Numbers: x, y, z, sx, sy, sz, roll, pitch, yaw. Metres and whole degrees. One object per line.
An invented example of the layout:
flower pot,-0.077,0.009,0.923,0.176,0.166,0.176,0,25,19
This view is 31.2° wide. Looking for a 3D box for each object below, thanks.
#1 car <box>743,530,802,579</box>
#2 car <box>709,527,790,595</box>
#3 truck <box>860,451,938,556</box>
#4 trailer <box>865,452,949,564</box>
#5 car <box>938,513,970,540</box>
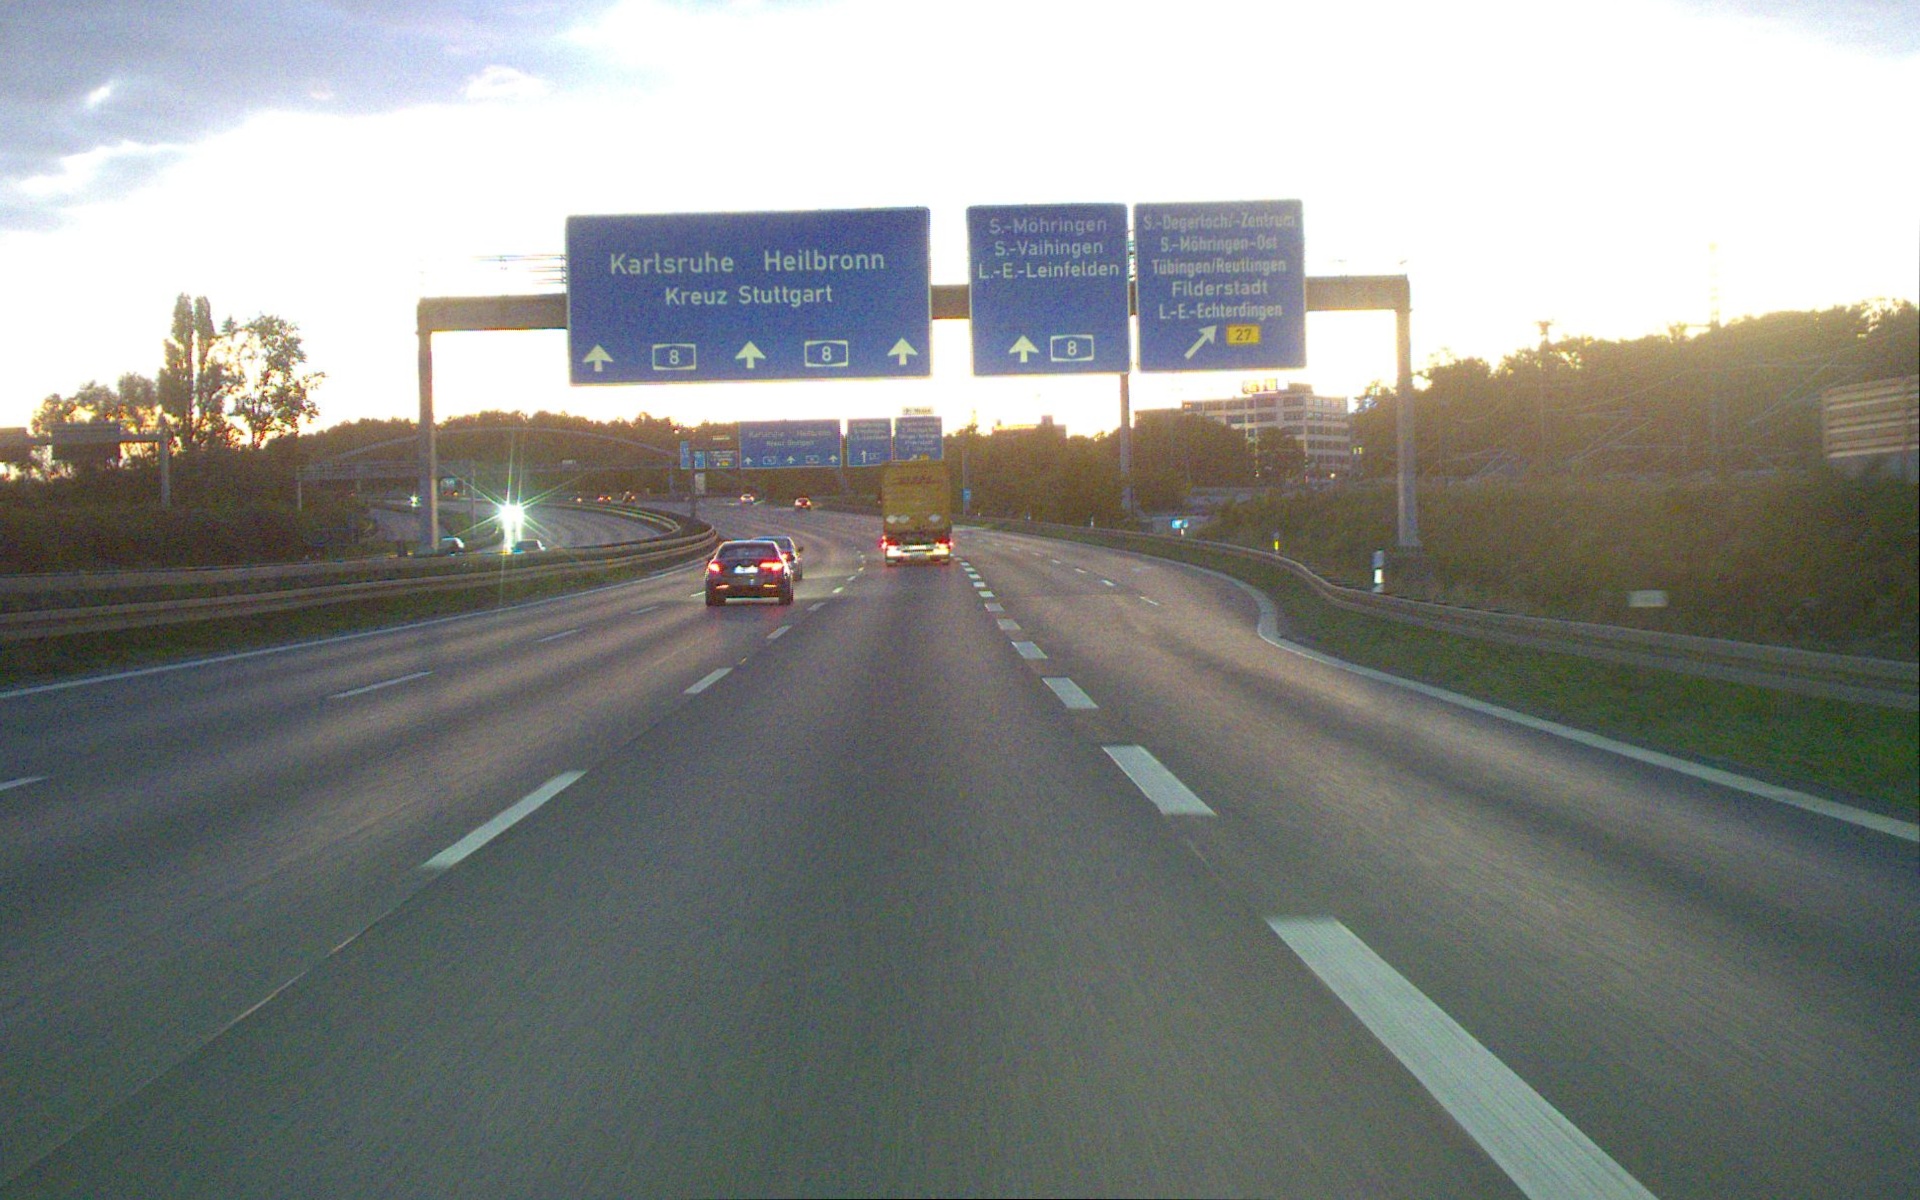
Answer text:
car,-5.878,-1.419,108.035,1.689,1.396,3.409,-4,1,-2
car,-4.701,-0.883,76.520,1.689,1.396,3.409,-3,1,-4
truck,-2.609,-4.088,142.842,2.690,4.057,10.522,-3,3,-3
trailer,-2.102,-3.638,133.212,2.721,4.057,8.833,-3,3,-3
car,-0.424,-5.228,245.828,1.993,1.842,4.001,0,0,-4
